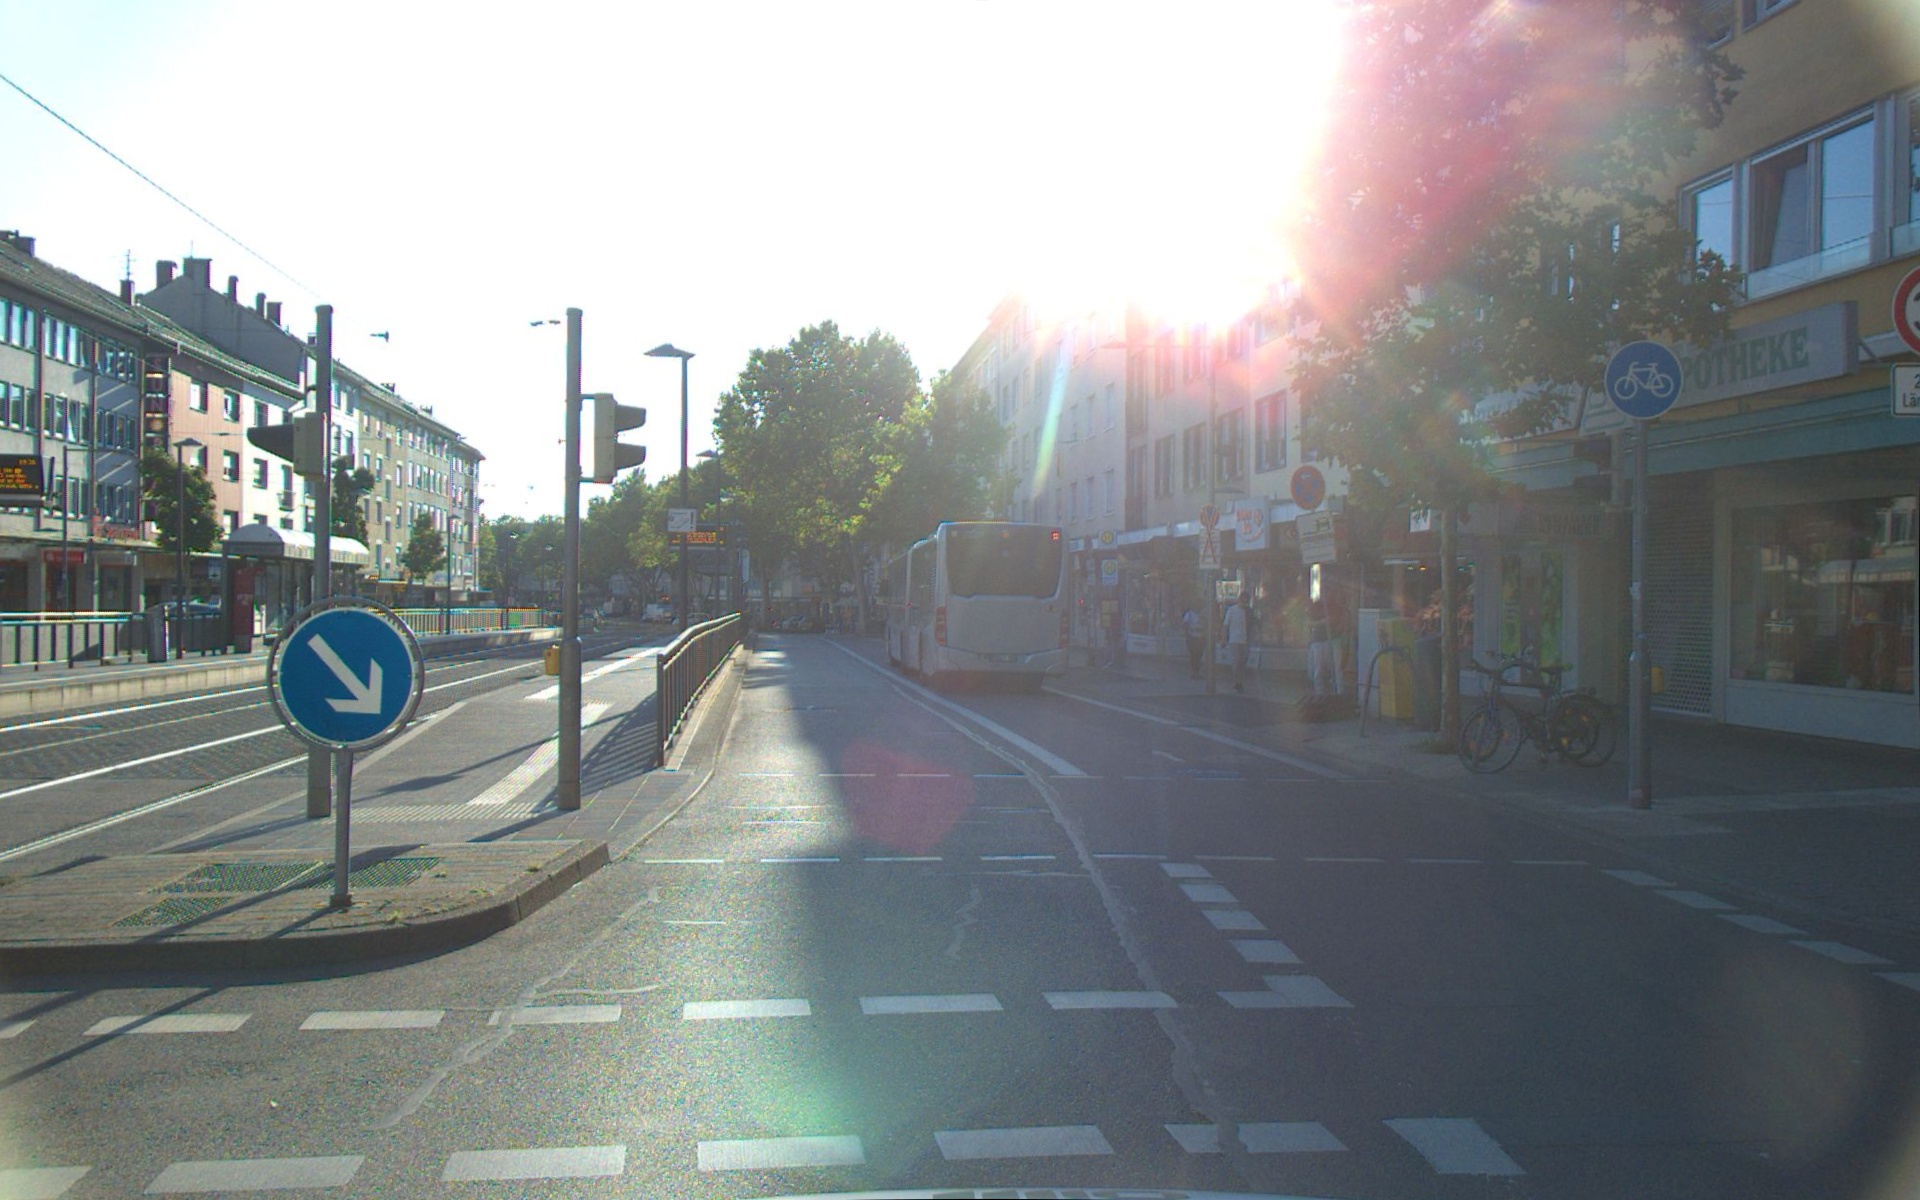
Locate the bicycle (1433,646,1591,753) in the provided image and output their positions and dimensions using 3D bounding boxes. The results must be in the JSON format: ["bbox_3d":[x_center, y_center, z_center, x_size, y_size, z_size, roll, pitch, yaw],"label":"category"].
[{"bbox_3d":[5.481,0.976,16.429,1.455,1.026,0.453,0,0,-10],"label":"bicycle"}]

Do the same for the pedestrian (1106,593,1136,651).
[{"bbox_3d":[4.687,0.643,48.150,0.710,1.661,0.765,0,0,-7],"label":"pedestrian"}]

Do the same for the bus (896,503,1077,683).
[{"bbox_3d":[0.301,-0.094,34.375,2.644,3.173,9.369,1,0,-6],"label":"bus"}]

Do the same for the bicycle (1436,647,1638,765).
[{"bbox_3d":[5.519,0.998,15.833,1.765,1.026,0.540,-2,0,-10],"label":"bicycle"}]

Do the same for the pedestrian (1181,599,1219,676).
[{"bbox_3d":[5.080,0.779,34.988,0.598,1.606,0.850,0,-1,-7],"label":"pedestrian"}]

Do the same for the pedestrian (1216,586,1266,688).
[{"bbox_3d":[5.060,0.665,29.849,0.710,1.810,0.765,0,-1,-7],"label":"pedestrian"}]

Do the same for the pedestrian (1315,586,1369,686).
[{"bbox_3d":[6.765,0.637,29.301,0.710,1.754,0.765,0,-1,-7],"label":"pedestrian"}]

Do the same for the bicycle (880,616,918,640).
[{"bbox_3d":[-3.149,1.437,84.958,1.850,1.096,0.754,-4,0,-4],"label":"bicycle"}]

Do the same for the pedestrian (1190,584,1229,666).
[{"bbox_3d":[5.724,0.573,38.020,0.710,1.872,0.765,0,-1,-7],"label":"pedestrian"}]

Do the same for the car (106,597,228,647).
[{"bbox_3d":[-27.989,0.748,58.456,1.733,1.709,3.503,0,0,31],"label":"car"}]

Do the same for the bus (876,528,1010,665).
[{"bbox_3d":[-0.620,-0.059,43.524,2.644,3.173,9.058,1,0,-6],"label":"bus"}]

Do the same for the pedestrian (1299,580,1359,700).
[{"bbox_3d":[5.721,0.616,25.663,0.710,1.838,0.765,0,-1,-7],"label":"pedestrian"}]
